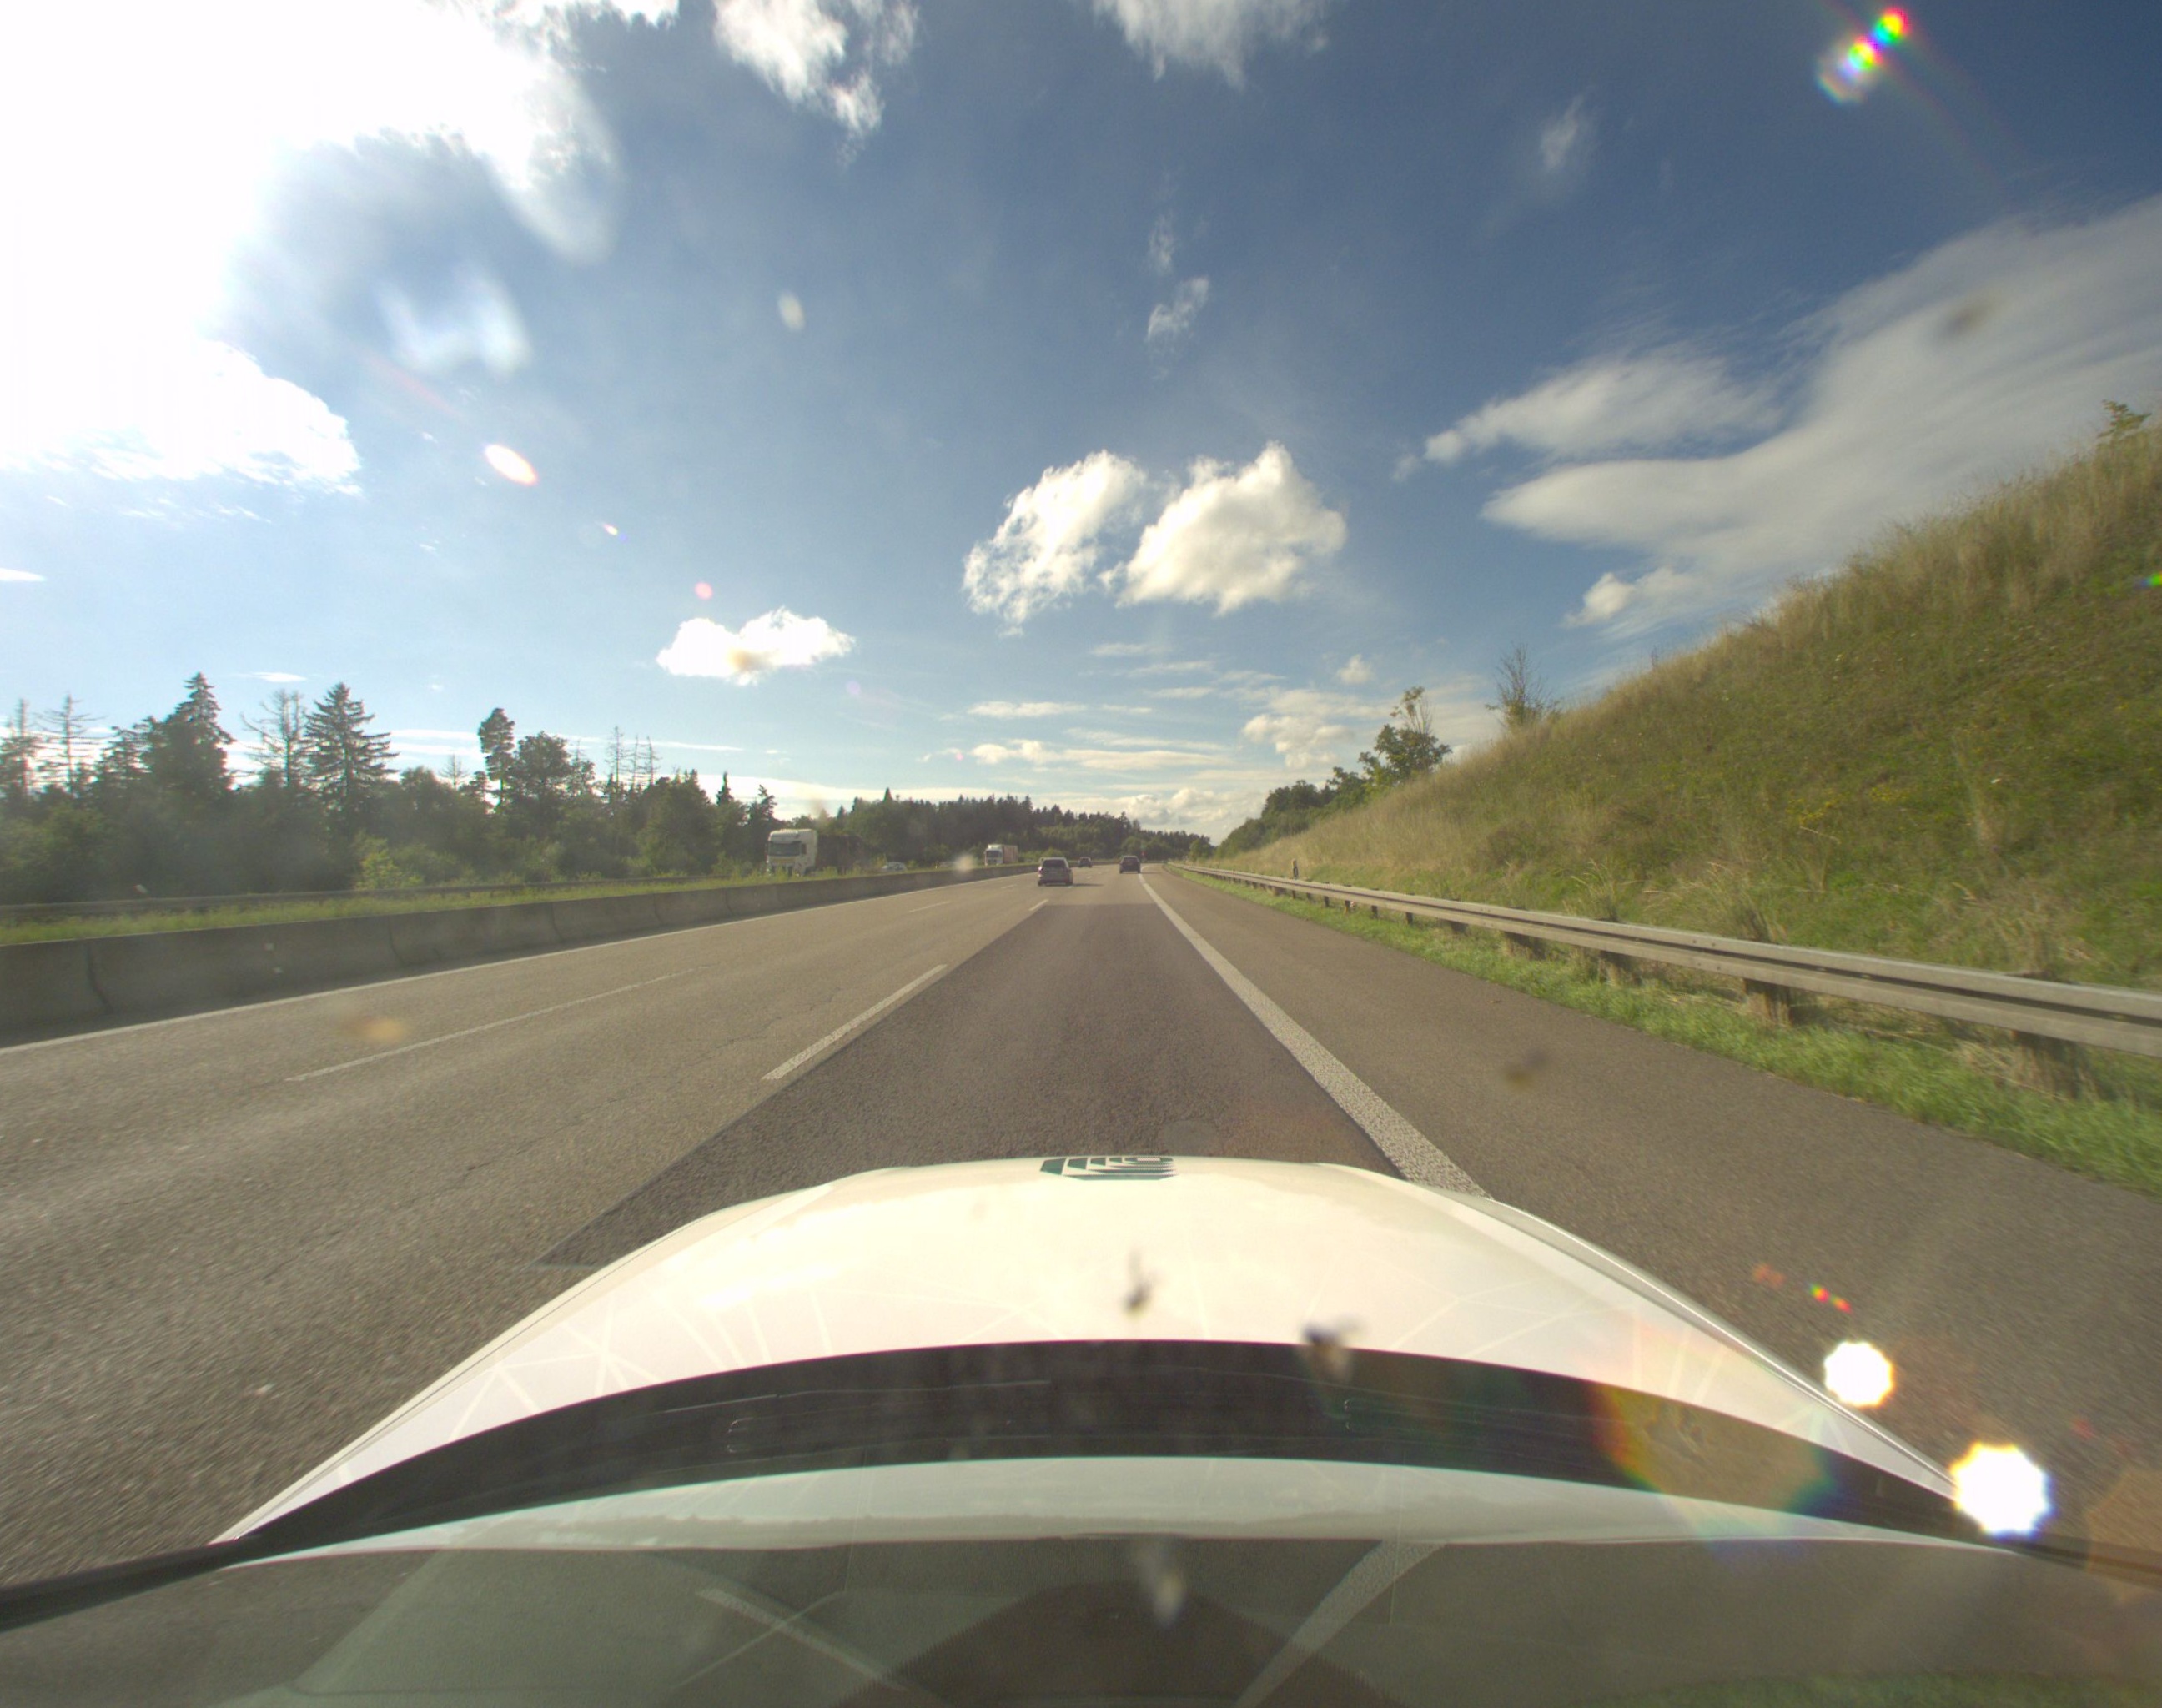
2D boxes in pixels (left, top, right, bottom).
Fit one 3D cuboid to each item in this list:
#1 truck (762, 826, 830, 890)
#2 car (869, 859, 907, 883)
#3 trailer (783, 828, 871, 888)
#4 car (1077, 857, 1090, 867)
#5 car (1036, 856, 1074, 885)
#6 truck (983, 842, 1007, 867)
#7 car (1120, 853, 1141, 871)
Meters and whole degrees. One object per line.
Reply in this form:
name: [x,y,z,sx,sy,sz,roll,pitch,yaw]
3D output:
truck: [-20.566,0.288,59.093,2.791,4.392,5.467,-1,0,2]
car: [-15.835,1.381,66.899,1.985,1.802,4.003,-1,0,3]
trailer: [-20.279,0.289,65.953,2.791,4.392,12.057,-1,0,2]
car: [0.392,1.203,127.228,1.867,1.497,3.879,-1,0,0]
car: [-1.409,0.901,45.935,1.867,1.497,3.881,-1,0,2]
truck: [-14.197,0.111,134.892,3.010,4.109,5.675,-1,0,4]
car: [4.649,0.728,75.817,1.865,1.675,3.894,-1,0,4]
